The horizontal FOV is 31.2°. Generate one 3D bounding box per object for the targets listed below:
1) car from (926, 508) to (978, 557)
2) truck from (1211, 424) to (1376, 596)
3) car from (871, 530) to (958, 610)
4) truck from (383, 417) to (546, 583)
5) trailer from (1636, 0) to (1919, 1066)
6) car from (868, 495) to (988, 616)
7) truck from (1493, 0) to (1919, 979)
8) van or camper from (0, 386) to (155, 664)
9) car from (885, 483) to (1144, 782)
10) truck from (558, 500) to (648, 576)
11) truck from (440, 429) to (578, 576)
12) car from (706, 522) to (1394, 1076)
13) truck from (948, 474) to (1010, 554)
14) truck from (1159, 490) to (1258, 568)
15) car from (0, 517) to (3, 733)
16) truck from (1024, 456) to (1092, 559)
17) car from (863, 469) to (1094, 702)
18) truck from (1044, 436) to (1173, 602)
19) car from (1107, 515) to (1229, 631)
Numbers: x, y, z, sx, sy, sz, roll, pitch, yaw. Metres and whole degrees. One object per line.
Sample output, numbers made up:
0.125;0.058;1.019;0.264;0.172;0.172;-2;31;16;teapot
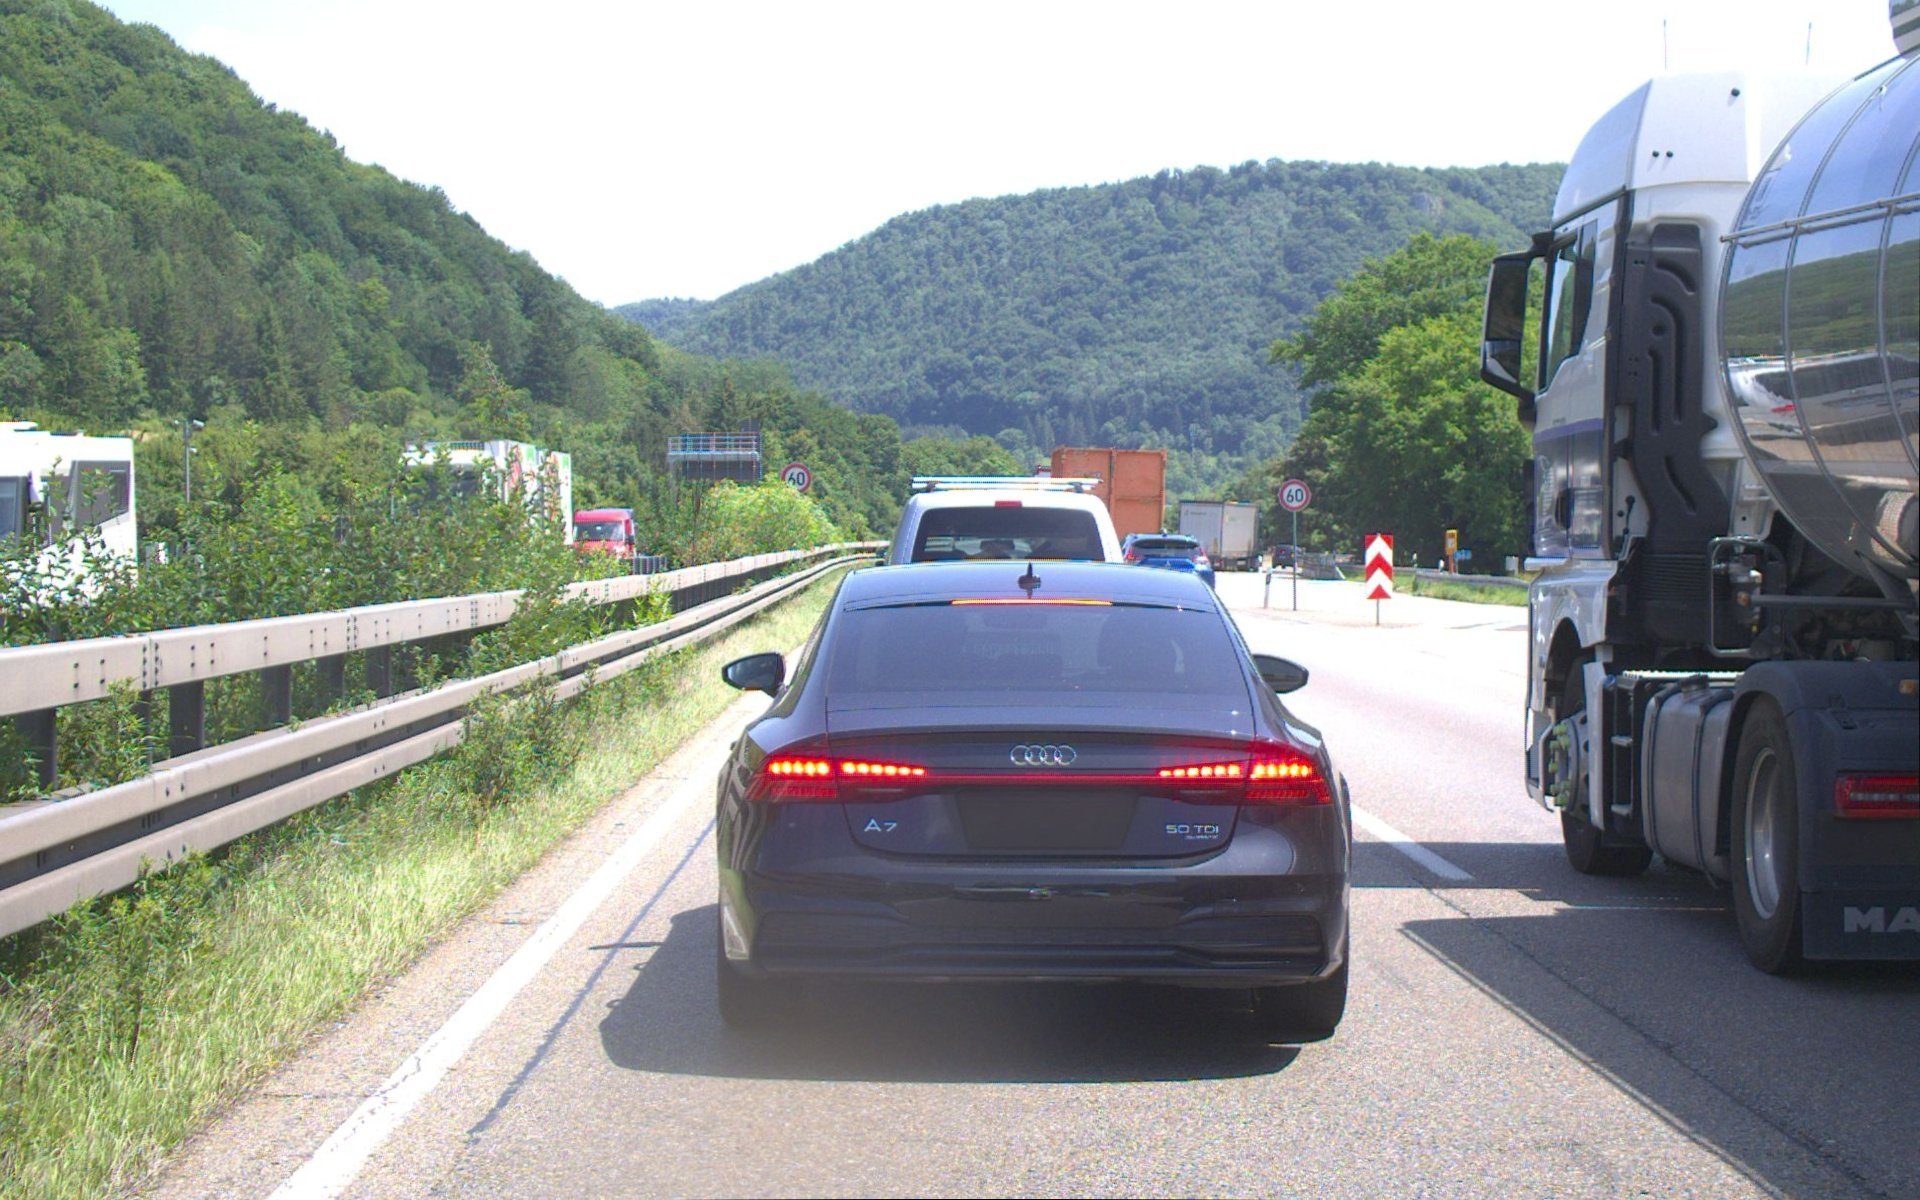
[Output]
-0.249;-2.305;116.704;1.712;1.613;4.000;0;1;1;car
8.344;-2.264;87.883;2.817;3.989;14.956;0;1;0;truck
-0.932;-0.656;72.279;1.712;1.613;4.000;0;1;1;car
-12.608;-2.537;88.379;2.869;3.992;10.172;0;1;-1;truck
4.056;-0.477;7.627;2.538;3.722;11.893;0;1;-1;trailer
-0.565;-0.782;59.480;1.993;2.007;4.000;0;1;-1;car
3.958;-0.626;14.369;2.511;3.745;5.246;0;1;-1;truck
-12.680;-0.962;44.925;2.590;3.324;7.649;0;1;-1;van or camper
0.317;0.155;23.131;1.576;1.827;4.000;0;1;-1;car
-12.481;-2.183;120.737;2.296;2.579;7.968;0;1;0;truck
-12.766;-2.742;97.981;2.869;3.967;9.032;0;1;-1;truck
0.103;0.495;11.297;1.849;1.483;4.084;0;1;-4;car
0.829;-3.832;153.628;2.628;3.429;11.421;0;1;0;truck
14.686;-4.184;202.014;3.795;4.399;14.948;0;1;12;truck
-8.196;0.233;23.989;1.775;1.646;4.491;0;1;0;car
3.377;-3.222;120.665;1.993;3.435;11.812;0;1;0;truck
0.139;-0.166;31.902;1.993;2.007;4.000;0;1;-1;car
3.768;-2.120;90.496;2.817;3.989;14.956;0;1;0;truck
3.718;-0.516;62.017;1.993;1.996;4.000;0;1;1;car
